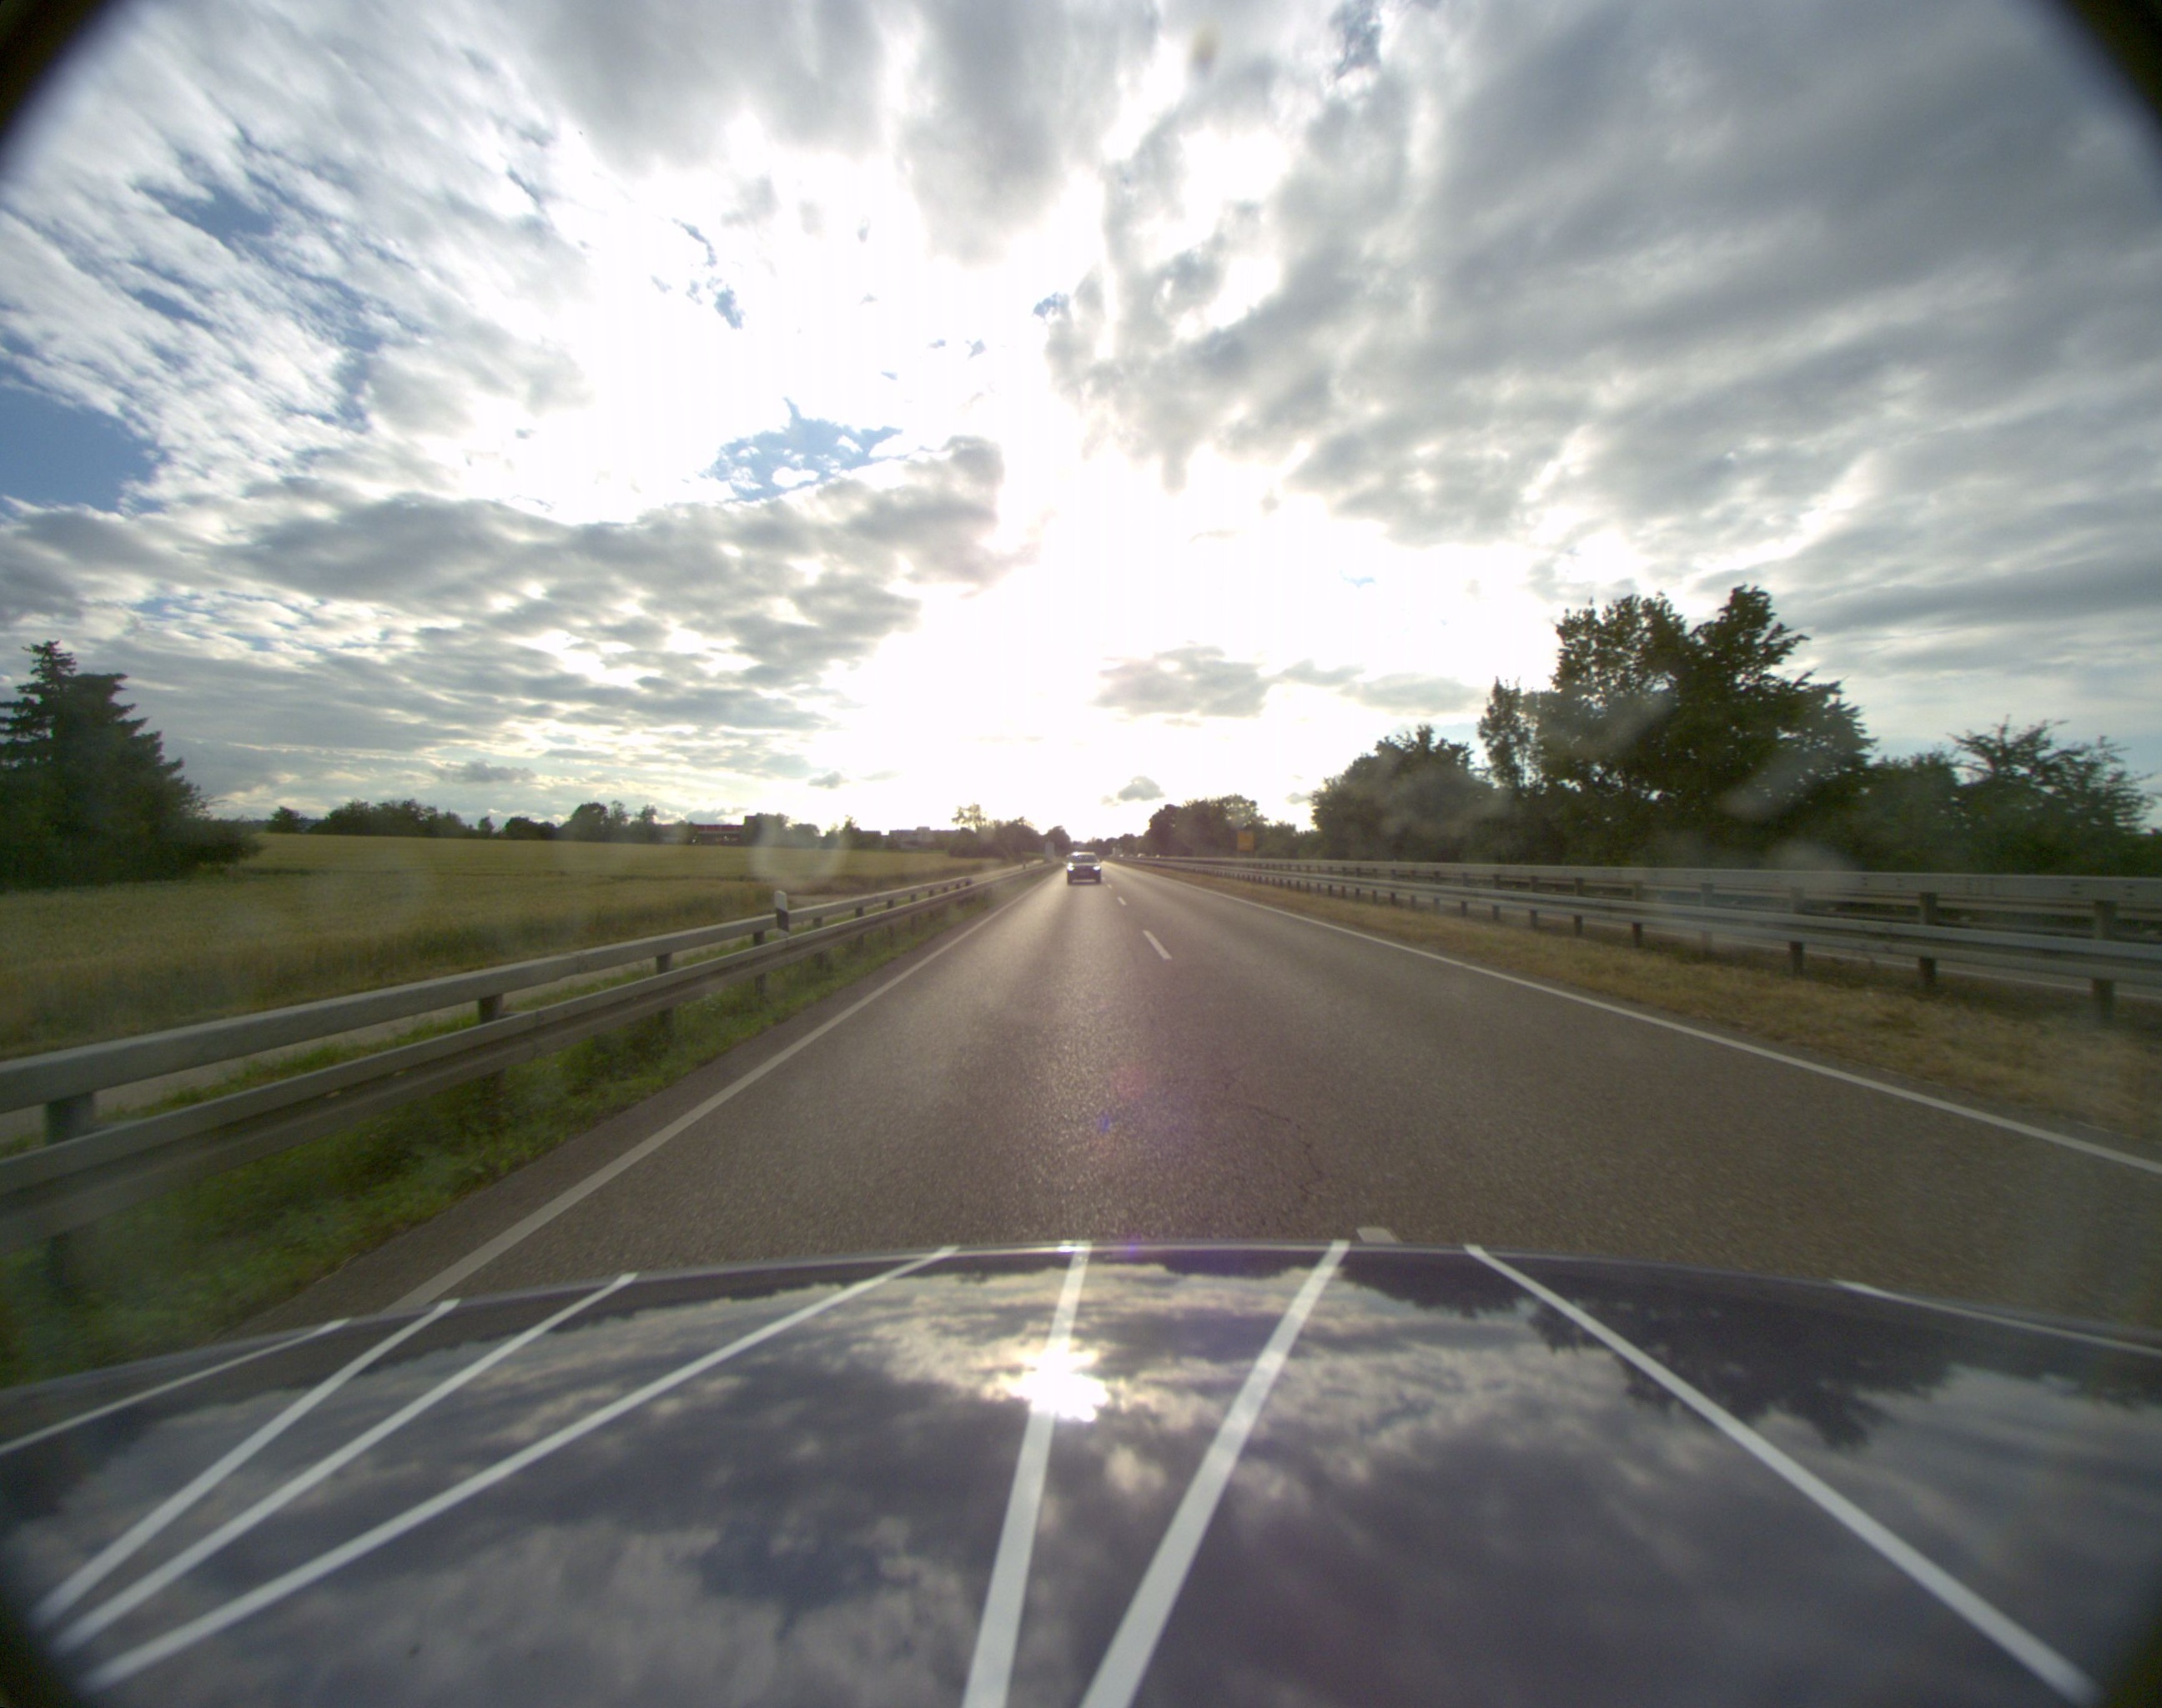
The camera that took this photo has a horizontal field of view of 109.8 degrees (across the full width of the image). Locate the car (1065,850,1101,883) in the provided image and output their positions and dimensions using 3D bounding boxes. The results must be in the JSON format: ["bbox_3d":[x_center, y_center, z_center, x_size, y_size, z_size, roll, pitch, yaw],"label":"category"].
[{"bbox_3d":[0.130,0.667,42.081,1.863,1.636,3.999,-2,1,1],"label":"car"}]

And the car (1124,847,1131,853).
[{"bbox_3d":[13.374,-1.119,218.192,1.937,1.626,4.375,0,1,0],"label":"car"}]
